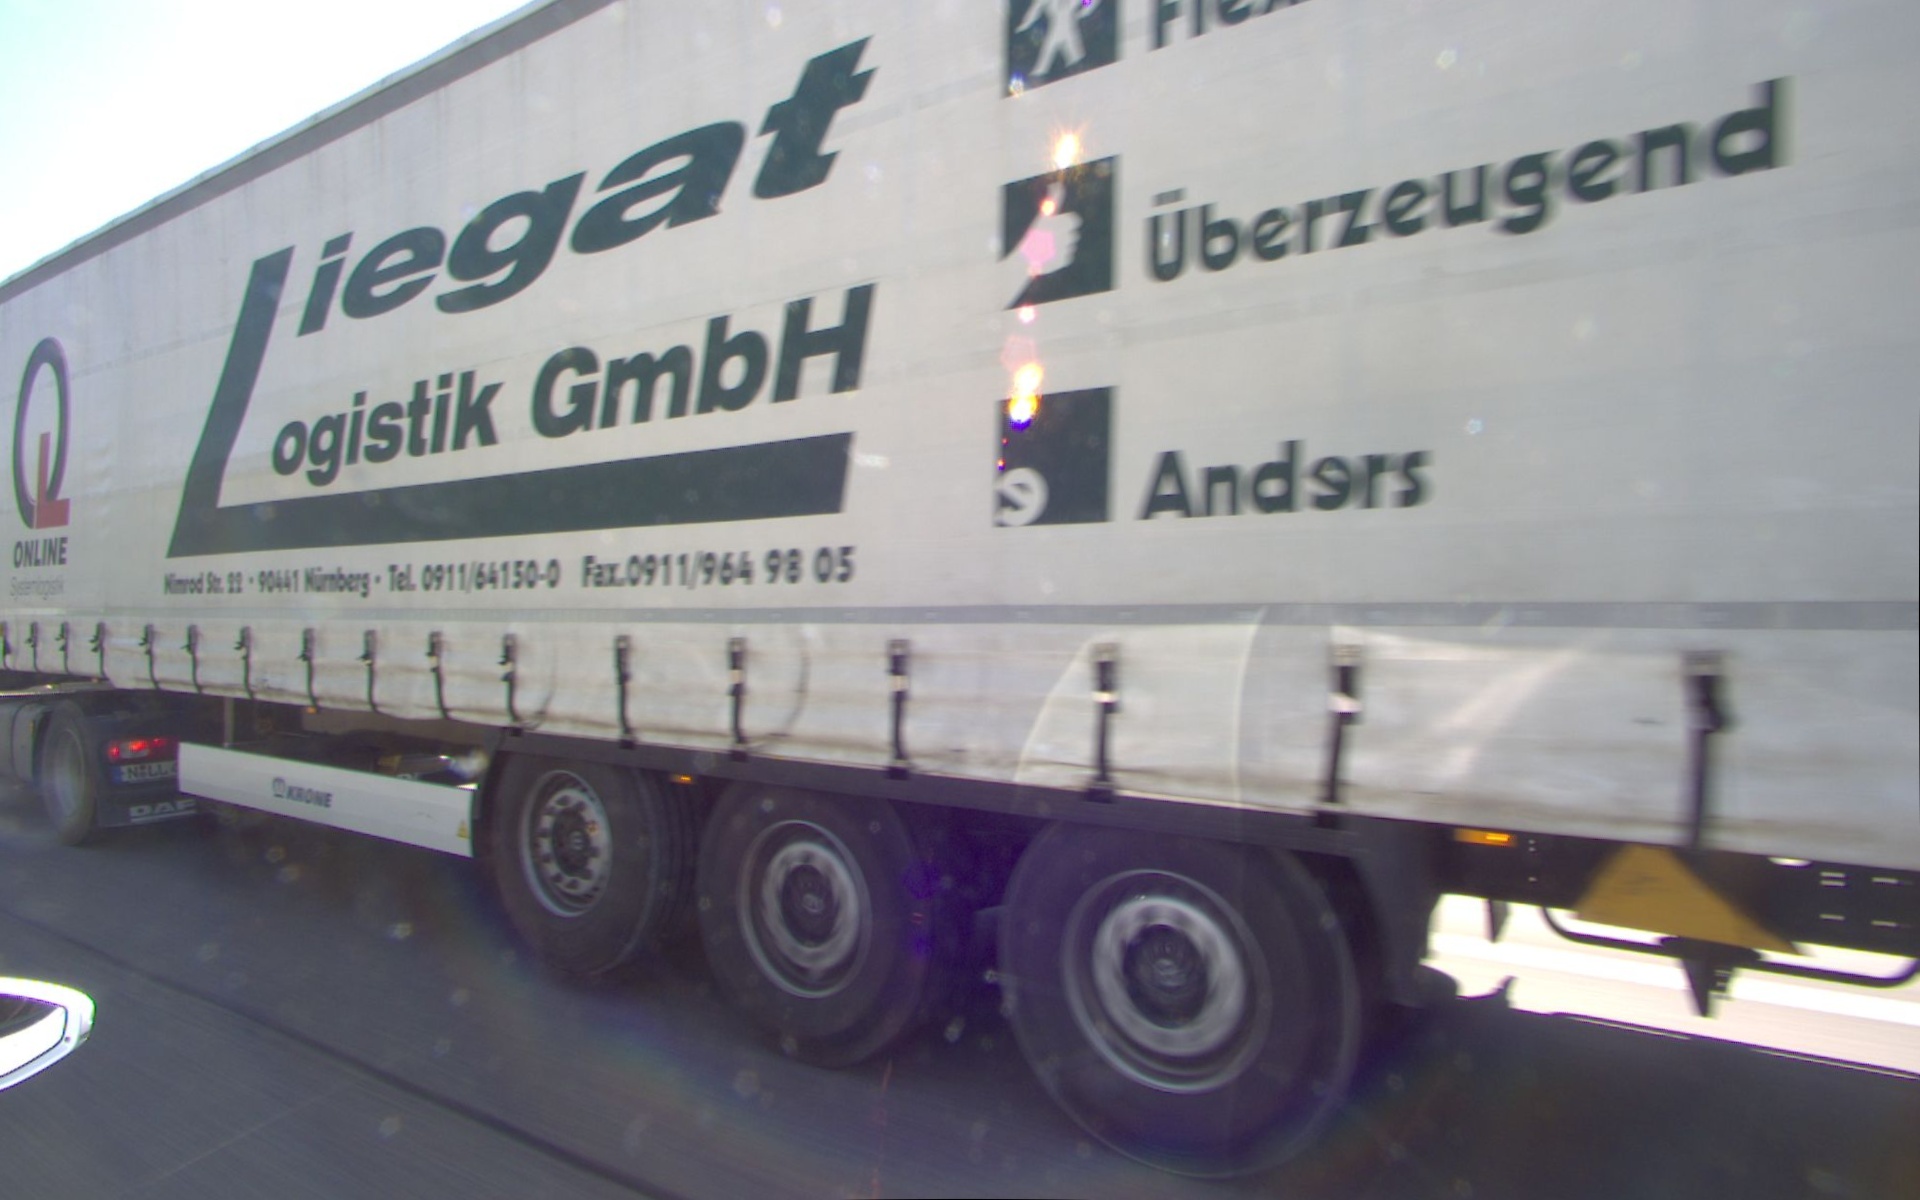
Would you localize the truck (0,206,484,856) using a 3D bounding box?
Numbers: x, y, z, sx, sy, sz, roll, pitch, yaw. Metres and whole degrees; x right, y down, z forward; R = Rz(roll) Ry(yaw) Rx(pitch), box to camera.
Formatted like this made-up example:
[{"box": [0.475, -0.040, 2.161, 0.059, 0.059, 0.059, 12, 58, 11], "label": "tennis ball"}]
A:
[{"box": [-7.444, -0.414, 9.310, 5.786, 4.259, 2.781, 0, -1, 33], "label": "truck"}]

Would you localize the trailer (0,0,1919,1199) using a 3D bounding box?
[{"box": [-1.749, -0.473, 5.625, 13.055, 4.259, 2.781, 0, -1, 33], "label": "trailer"}]
